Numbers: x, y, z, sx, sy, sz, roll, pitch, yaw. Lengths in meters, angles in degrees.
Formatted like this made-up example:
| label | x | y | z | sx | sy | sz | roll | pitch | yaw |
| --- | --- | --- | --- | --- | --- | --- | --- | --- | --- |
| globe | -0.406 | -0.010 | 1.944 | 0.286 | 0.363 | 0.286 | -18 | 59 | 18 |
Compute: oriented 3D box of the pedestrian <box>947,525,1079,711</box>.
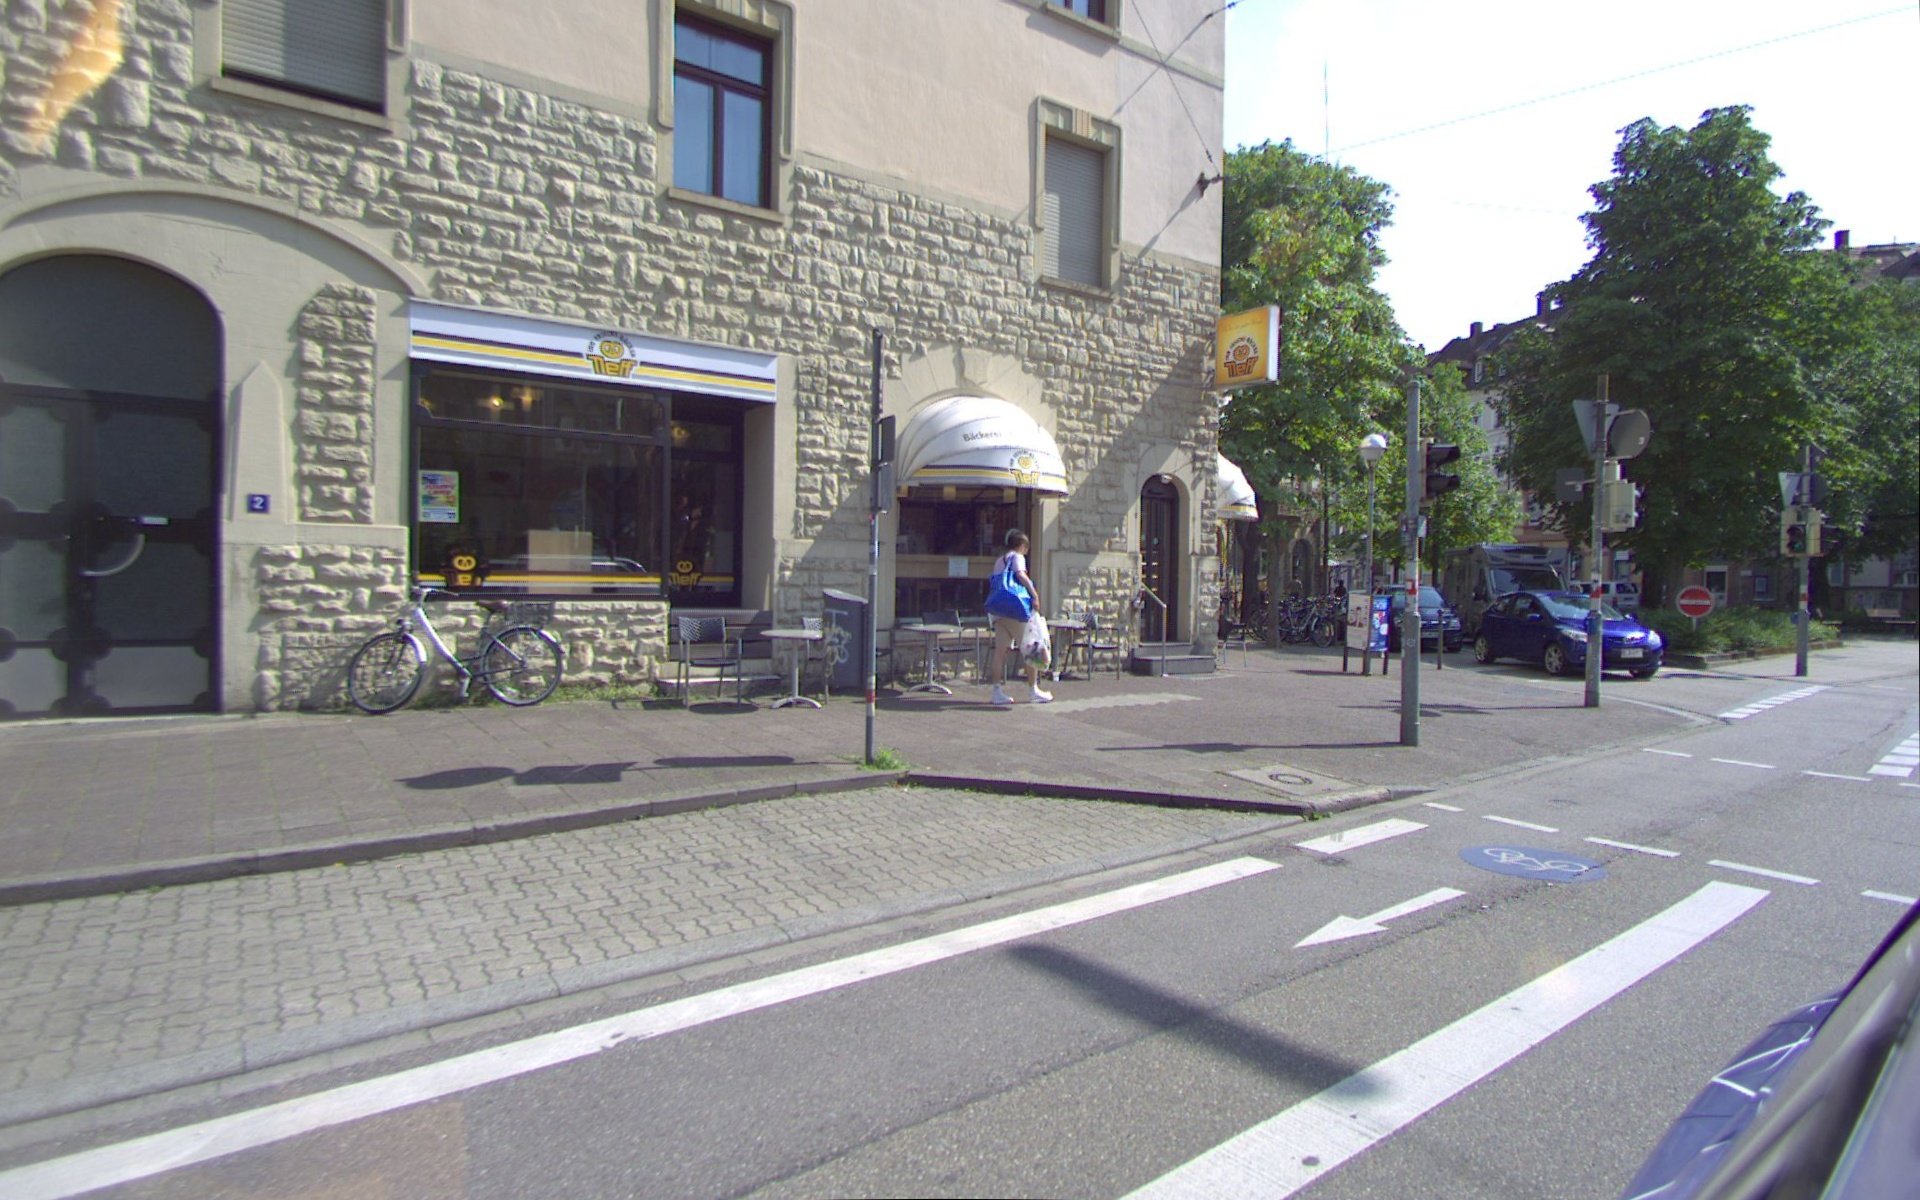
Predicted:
| label | x | y | z | sx | sy | sz | roll | pitch | yaw |
| --- | --- | --- | --- | --- | --- | --- | --- | --- | --- |
| pedestrian | 0.532 | 0.151 | 10.462 | 0.833 | 1.790 | 1.015 | 1 | 4 | -33 |

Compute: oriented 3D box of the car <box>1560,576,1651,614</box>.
| label | x | y | z | sx | sy | sz | roll | pitch | yaw |
| --- | --- | --- | --- | --- | --- | --- | --- | --- | --- |
| car | 35.964 | -0.329 | 56.512 | 1.800 | 2.011 | 4.325 | -1 | 1 | -11 |

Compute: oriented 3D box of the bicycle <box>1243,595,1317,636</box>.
| label | x | y | z | sx | sy | sz | roll | pitch | yaw |
| --- | --- | --- | --- | --- | --- | --- | --- | --- | --- |
| bicycle | 9.293 | 0.439 | 29.431 | 1.935 | 1.130 | 0.588 | 1 | -1 | 0 |

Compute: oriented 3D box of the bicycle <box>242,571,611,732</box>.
| label | x | y | z | sx | sy | sz | roll | pitch | yaw |
| --- | --- | --- | --- | --- | --- | --- | --- | --- | --- |
| bicycle | -4.474 | 0.371 | 8.654 | 2.701 | 1.192 | 0.807 | -1 | -1 | -37 |

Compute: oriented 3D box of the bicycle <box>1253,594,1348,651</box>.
| label | x | y | z | sx | sy | sz | roll | pitch | yaw |
| --- | --- | --- | --- | --- | --- | --- | --- | --- | --- |
| bicycle | 7.728 | 0.507 | 23.023 | 1.935 | 1.225 | 0.588 | 1 | -1 | 0 |

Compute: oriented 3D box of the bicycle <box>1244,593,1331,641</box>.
| label | x | y | z | sx | sy | sz | roll | pitch | yaw |
| --- | --- | --- | --- | --- | --- | --- | --- | --- | --- |
| bicycle | 8.134 | 0.409 | 25.173 | 1.935 | 1.130 | 0.588 | 1 | -1 | 0 |

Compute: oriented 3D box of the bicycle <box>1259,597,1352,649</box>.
| label | x | y | z | sx | sy | sz | roll | pitch | yaw |
| --- | --- | --- | --- | --- | --- | --- | --- | --- | --- |
| bicycle | 8.096 | 0.539 | 23.751 | 1.935 | 1.155 | 0.588 | 1 | -1 | 0 |

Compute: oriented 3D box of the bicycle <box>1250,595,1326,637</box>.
| label | x | y | z | sx | sy | sz | roll | pitch | yaw |
| --- | --- | --- | --- | --- | --- | --- | --- | --- | --- |
| bicycle | 9.341 | 0.451 | 28.832 | 1.935 | 1.130 | 0.588 | 1 | -1 | 0 |

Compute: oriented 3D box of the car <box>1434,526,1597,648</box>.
| label | x | y | z | sx | sy | sz | roll | pitch | yaw |
| --- | --- | --- | --- | --- | --- | --- | --- | --- | --- |
| car | 14.562 | -0.325 | 27.052 | 2.359 | 2.829 | 6.640 | 1 | 0 | 16 |

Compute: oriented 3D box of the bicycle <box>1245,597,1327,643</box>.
| label | x | y | z | sx | sy | sz | roll | pitch | yaw |
| --- | --- | --- | --- | --- | --- | --- | --- | --- | --- |
| bicycle | 8.547 | 0.518 | 26.568 | 1.935 | 1.130 | 0.588 | 1 | -1 | 0 |

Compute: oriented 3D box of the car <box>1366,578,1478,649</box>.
| label | x | y | z | sx | sy | sz | roll | pitch | yaw |
| --- | --- | --- | --- | --- | --- | --- | --- | --- | --- |
| car | 11.222 | 0.294 | 24.864 | 1.702 | 1.574 | 4.096 | -2 | 0 | 14 |

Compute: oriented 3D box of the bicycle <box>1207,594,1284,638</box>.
| label | x | y | z | sx | sy | sz | roll | pitch | yaw |
| --- | --- | --- | --- | --- | --- | --- | --- | --- | --- |
| bicycle | 7.821 | 0.435 | 27.758 | 1.935 | 1.130 | 0.588 | 1 | -1 | 0 |

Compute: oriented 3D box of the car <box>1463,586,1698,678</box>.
| label | x | y | z | sx | sy | sz | roll | pitch | yaw |
| --- | --- | --- | --- | --- | --- | --- | --- | --- | --- |
| car | 11.103 | 0.495 | 18.493 | 1.856 | 1.436 | 3.999 | 1 | 1 | 1 |
